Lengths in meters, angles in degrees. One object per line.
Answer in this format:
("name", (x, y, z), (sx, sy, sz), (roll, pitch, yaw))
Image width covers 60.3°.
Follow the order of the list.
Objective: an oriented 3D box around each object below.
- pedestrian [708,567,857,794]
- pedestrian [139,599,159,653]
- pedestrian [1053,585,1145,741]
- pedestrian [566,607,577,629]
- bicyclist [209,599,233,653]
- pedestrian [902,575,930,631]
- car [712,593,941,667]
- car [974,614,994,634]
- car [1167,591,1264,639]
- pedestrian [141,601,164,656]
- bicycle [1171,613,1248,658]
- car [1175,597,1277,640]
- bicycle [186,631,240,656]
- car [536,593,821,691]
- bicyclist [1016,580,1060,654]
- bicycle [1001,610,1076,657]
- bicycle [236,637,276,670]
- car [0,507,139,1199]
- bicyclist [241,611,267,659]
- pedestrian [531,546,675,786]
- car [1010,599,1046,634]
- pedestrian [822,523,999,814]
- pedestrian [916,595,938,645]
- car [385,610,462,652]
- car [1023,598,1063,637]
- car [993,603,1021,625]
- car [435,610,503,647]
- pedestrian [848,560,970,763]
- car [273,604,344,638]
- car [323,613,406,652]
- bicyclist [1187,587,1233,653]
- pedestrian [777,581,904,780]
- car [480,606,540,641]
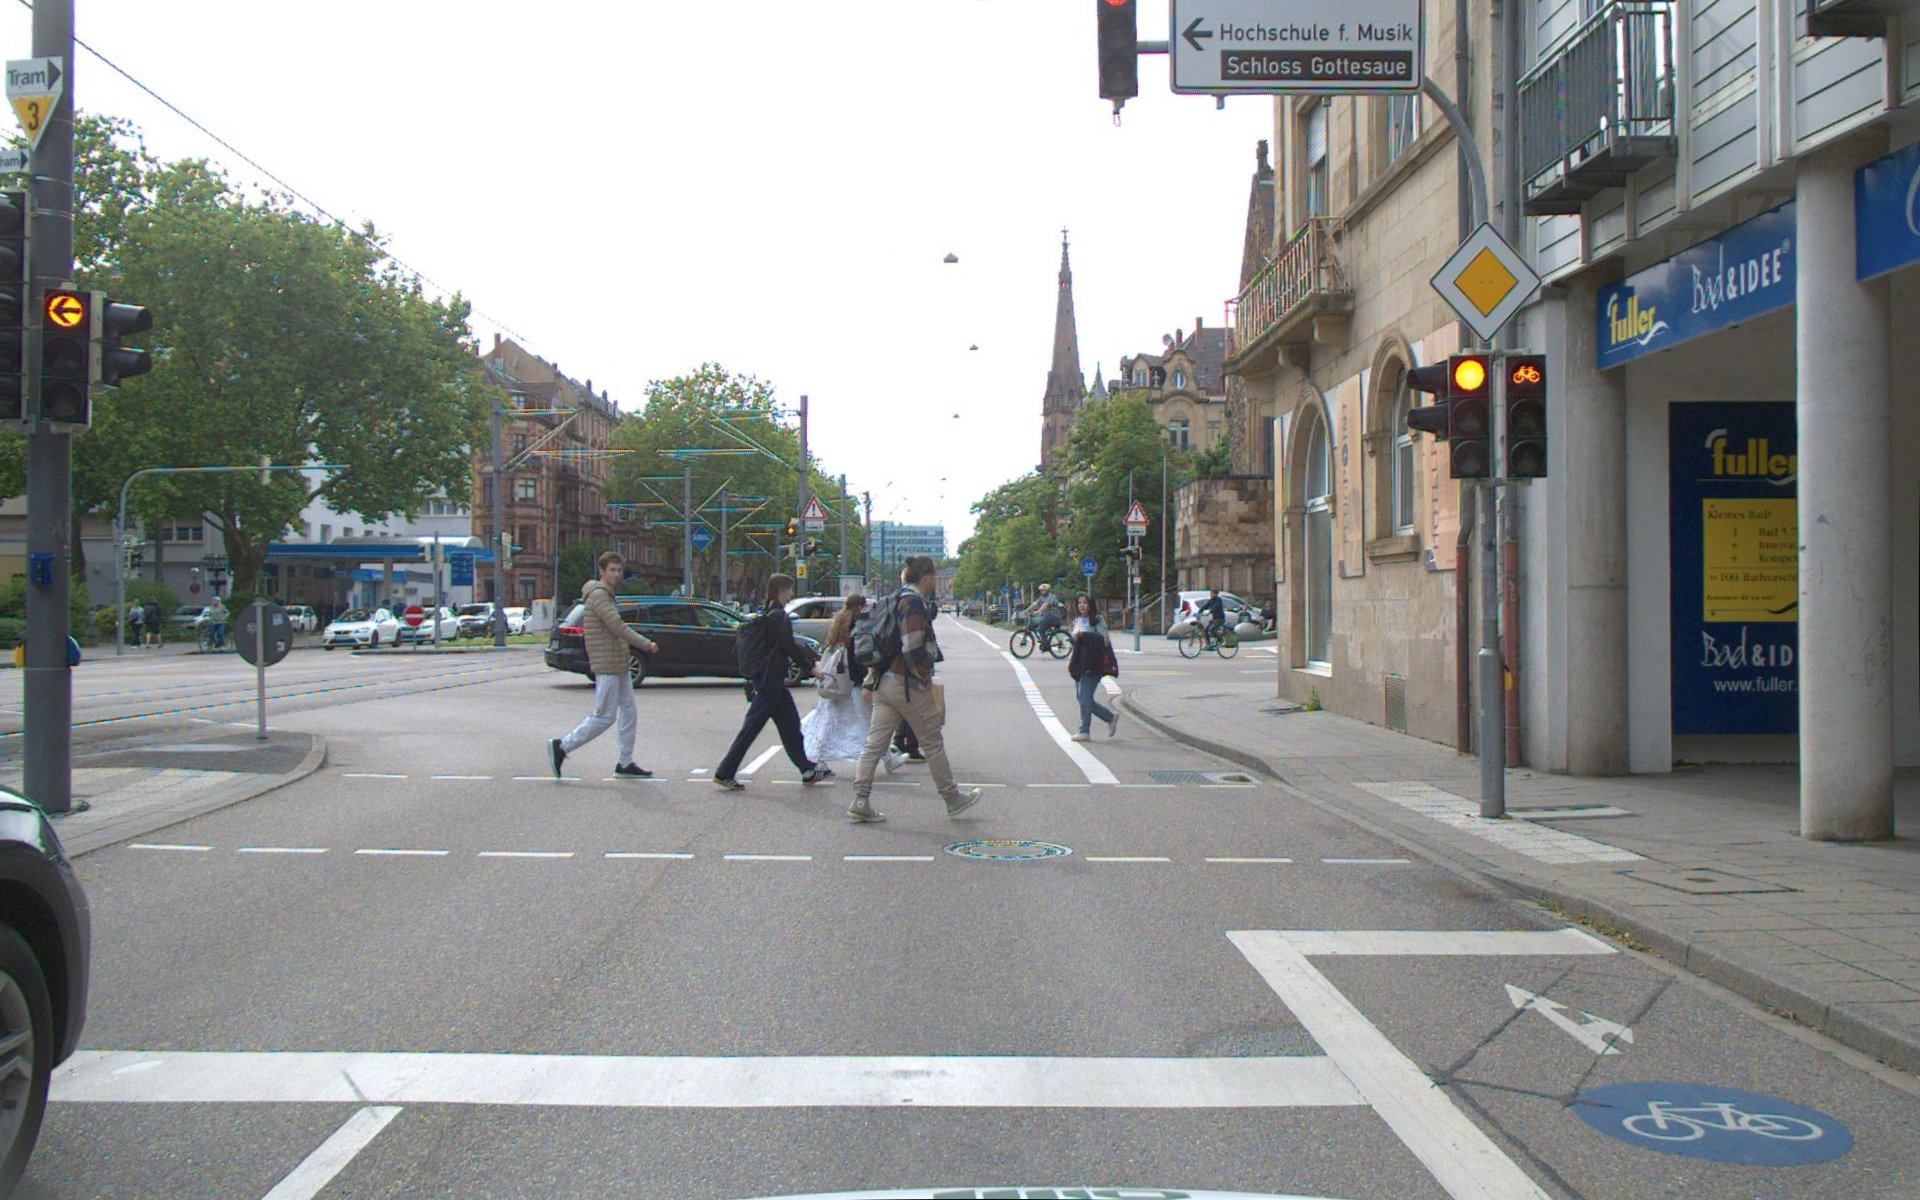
("pedestrian", (-1.362, 0.597, 12.796), (0.616, 1.681, 0.993), (0, -1, 36))
("pedestrian", (-27.390, 0.888, 55.831), (0.367, 1.815, 0.448), (1, -1, 32))
("pedestrian", (1.588, 0.700, 18.809), (0.659, 1.709, 0.864), (0, -1, 38))
("pedestrian", (-26.791, 1.252, 114.076), (0.442, 1.486, 0.524), (1, -1, 28))
("bicyclist", (-24.652, 0.865, 55.200), (0.522, 1.815, 0.470), (1, -1, 19))
("pedestrian", (-1.353, 0.093, 51.150), (0.834, 1.683, 0.508), (1, -1, -3))
("car", (-2.915, 0.658, 36.066), (4.653, 1.536, 1.826), (1, -1, -23))
("car", (2.496, 2.517, 173.540), (1.953, 2.049, 3.999), (1, 0, -1))
("car", (10.734, 0.639, 69.631), (3.721, 1.937, 2.000), (1, 0, -1))
("pedestrian", (-27.206, 0.955, 55.742), (0.367, 1.815, 0.551), (1, -1, 30))
("bicycle", (6.657, 0.943, 44.152), (1.910, 1.155, 0.731), (1, -1, -22))
("car", (10.626, 0.726, 66.218), (3.721, 1.629, 2.000), (1, 0, -1))
("bicycle", (-24.942, 1.445, 55.237), (1.645, 0.786, 0.656), (1, -1, 19))
("car", (-4.696, 0.701, 27.680), (4.378, 1.536, 1.823), (1, -1, -26))
("bicyclist", (1.973, 0.430, 41.955), (0.955, 1.851, 0.527), (1, -1, -30))
("bicycle", (1.996, 0.848, 41.956), (1.880, 1.162, 0.622), (1, -1, -30))
("bicycle", (-23.606, 1.787, 55.462), (0.511, 1.035, 1.936), (1, 0, -1))
("car", (-2.990, 0.597, 2.064), (1.842, 1.629, 4.356), (0, 0, -2))
("bicyclist", (-23.618, 1.172, 55.344), (0.576, 1.595, 0.618), (1, -1, -1))
("pedestrian", (-2.842, 0.514, 13.171), (0.998, 1.845, 0.580), (1, -1, -24))
("car", (4.142, 1.012, 100.875), (1.953, 2.049, 3.999), (1, 0, -1))
("pedestrian", (-0.312, 0.432, 10.923), (0.616, 1.810, 1.129), (-1, -1, 36))
("pedestrian", (-1.054, 0.641, 53.190), (0.640, 1.564, 0.465), (1, -1, -5))
("car", (-21.444, 1.210, 66.211), (1.856, 1.585, 3.835), (1, 0, -1))
("car", (4.570, 0.966, 91.631), (1.953, 2.049, 3.999), (1, 0, -1))
("car", (3.670, 1.094, 129.680), (1.953, 1.635, 4.163), (-2, 0, -1))
("car", (-21.688, 1.246, 73.201), (1.856, 1.585, 3.835), (1, 0, -1))
("pedestrian", (-0.471, 0.549, 15.326), (0.900, 1.815, 0.645), (0, -1, 37))
("car", (-31.919, 1.019, 81.120), (1.953, 1.557, 3.999), (1, 0, -1))
("car", (-21.467, 1.151, 59.769), (1.601, 1.348, 3.999), (1, 0, -1))
("bicyclist", (6.683, 0.533, 44.177), (1.023, 1.713, 0.641), (1, -1, -21))
("pedestrian", (-1.007, 0.659, 14.020), (0.689, 1.621, 0.828), (0, -1, 36))
("car", (-21.707, 1.114, 79.914), (1.856, 1.585, 3.835), (1, 0, -1))
